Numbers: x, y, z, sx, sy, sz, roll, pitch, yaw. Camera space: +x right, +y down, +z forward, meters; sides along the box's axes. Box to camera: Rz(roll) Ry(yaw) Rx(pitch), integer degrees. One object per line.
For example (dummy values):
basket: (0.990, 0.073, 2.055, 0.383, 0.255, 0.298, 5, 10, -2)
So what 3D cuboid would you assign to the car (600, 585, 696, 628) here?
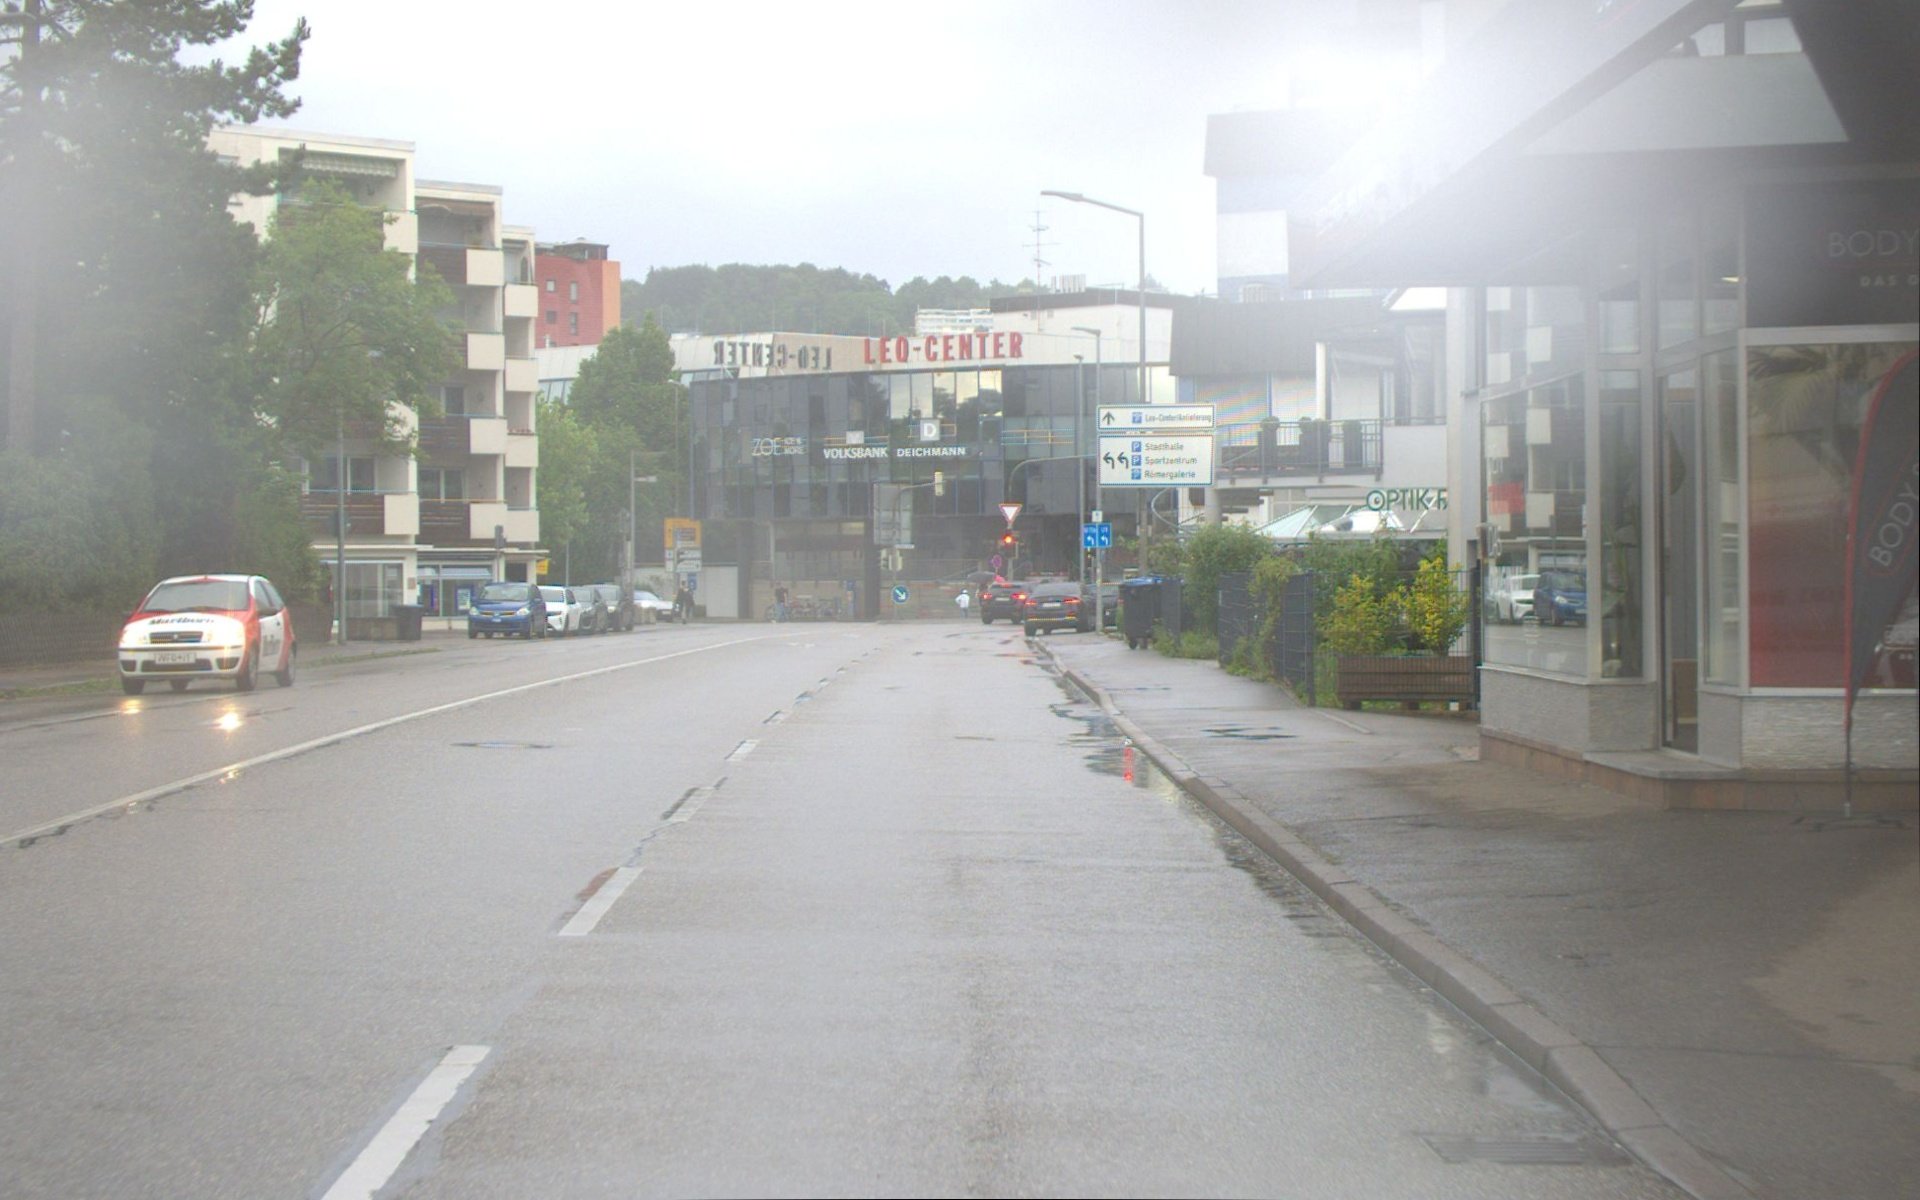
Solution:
car: (-13.200, 0.267, 145.246, 1.994, 1.506, 4.433, 3, 2, -35)

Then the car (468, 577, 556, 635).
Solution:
car: (-12.058, 0.143, 92.832, 1.652, 1.516, 4.324, 0, 0, 2)

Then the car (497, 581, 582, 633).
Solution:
car: (-12.081, 0.180, 98.924, 1.693, 1.459, 4.684, 0, 0, 2)

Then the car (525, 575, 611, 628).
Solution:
car: (-11.819, 0.035, 103.903, 1.934, 1.536, 4.520, 0, 0, 2)

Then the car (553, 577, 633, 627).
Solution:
car: (-11.676, 0.059, 109.638, 1.934, 1.536, 4.272, 0, 0, 2)

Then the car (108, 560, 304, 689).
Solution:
car: (-9.437, 0.271, 43.284, 1.697, 1.404, 4.001, -2, 2, -2)

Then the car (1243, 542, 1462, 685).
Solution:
car: (5.088, 0.150, 45.210, 1.993, 1.779, 4.692, 0, 1, -5)

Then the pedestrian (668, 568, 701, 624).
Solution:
pedestrian: (-10.135, -0.134, 126.661, 0.749, 2.007, 0.920, 4, 0, 23)

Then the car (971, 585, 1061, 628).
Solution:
car: (1.903, 0.216, 116.379, 1.806, 1.414, 3.996, 0, 0, 21)

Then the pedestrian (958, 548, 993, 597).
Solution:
pedestrian: (0.569, -0.990, 123.111, 0.908, 1.653, 0.755, 3, 1, -25)

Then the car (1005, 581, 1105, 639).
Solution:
car: (2.705, 0.296, 96.857, 1.994, 1.528, 4.644, 1, -1, 12)

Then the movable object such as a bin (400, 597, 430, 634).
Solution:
movable object such as a bin: (-14.070, 0.401, 88.782, 0.648, 0.962, 0.682, 0, 0, 2)
